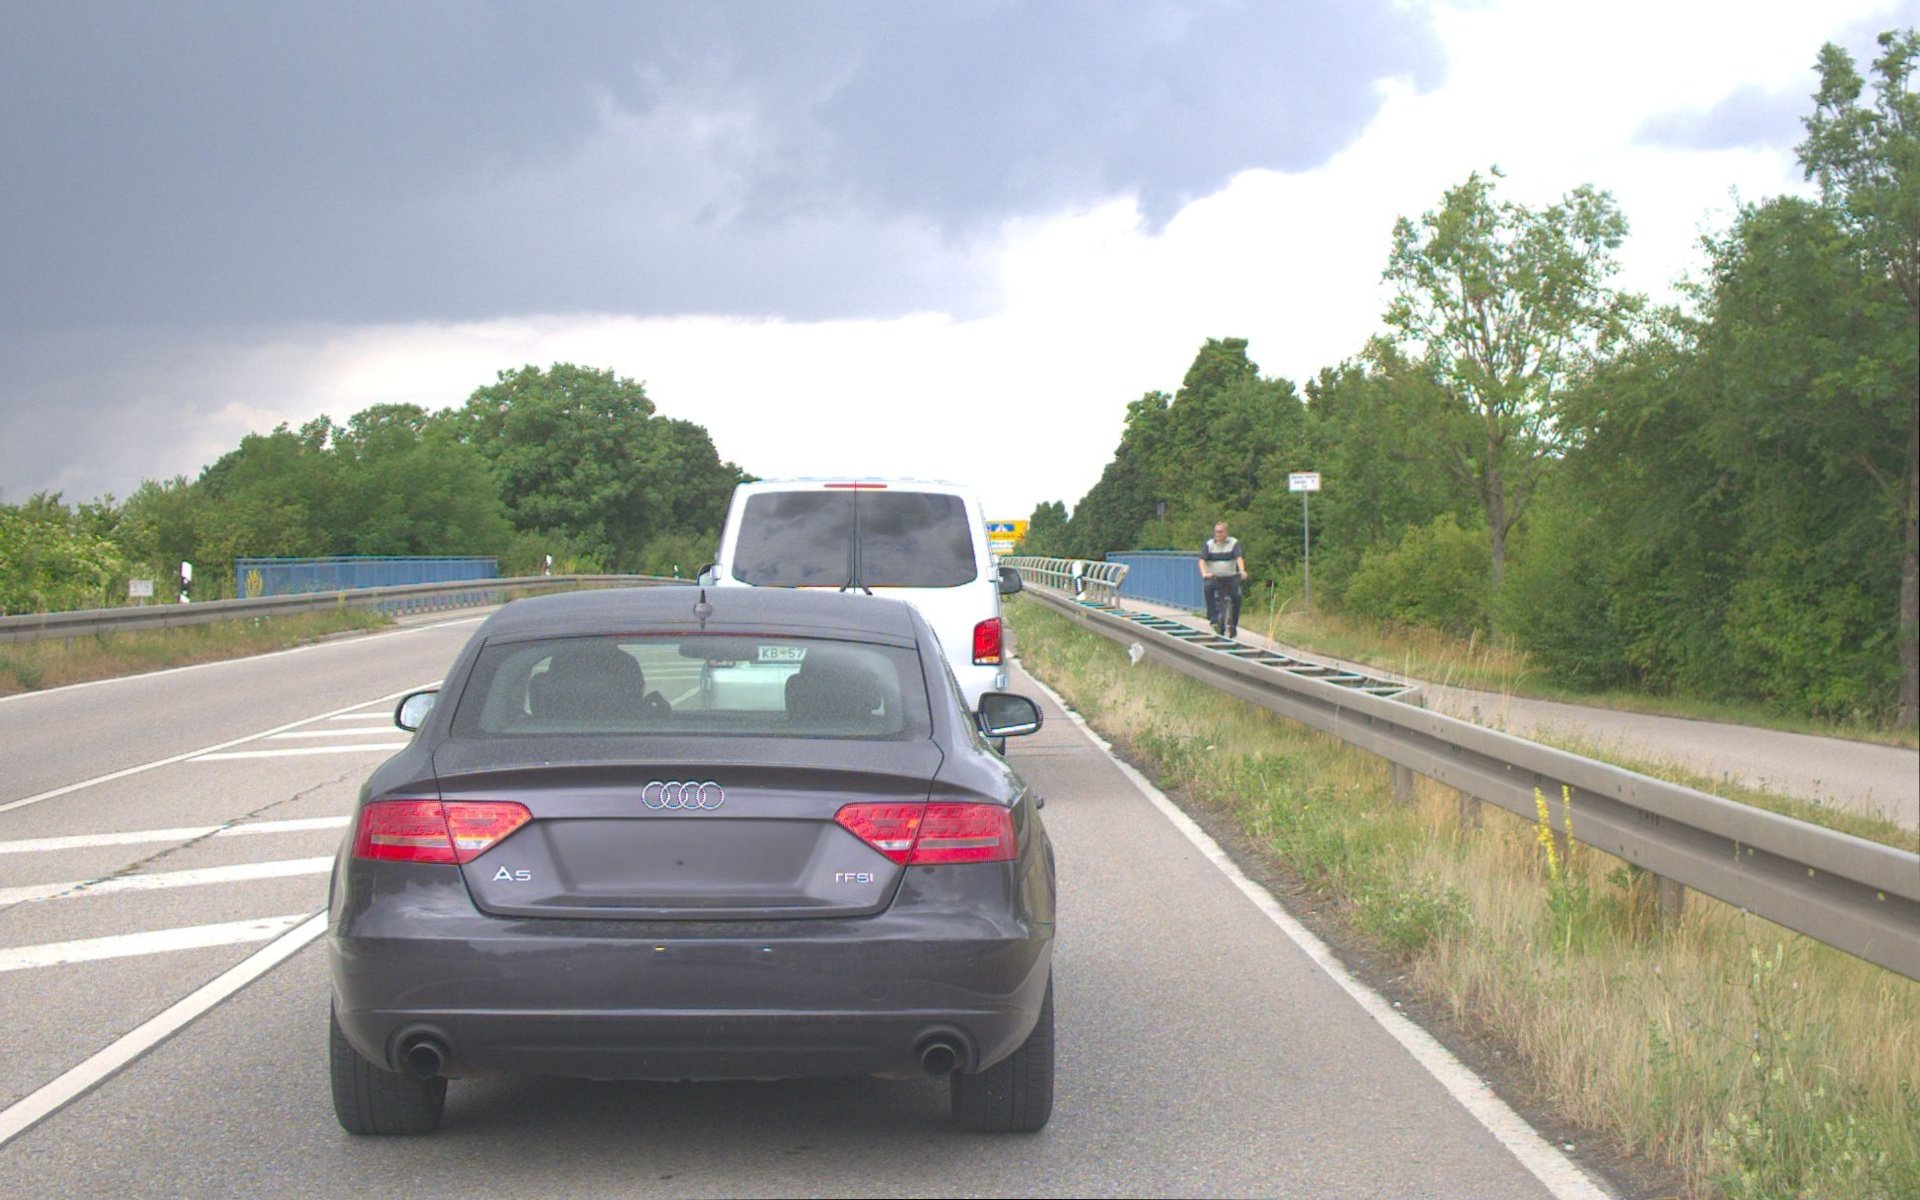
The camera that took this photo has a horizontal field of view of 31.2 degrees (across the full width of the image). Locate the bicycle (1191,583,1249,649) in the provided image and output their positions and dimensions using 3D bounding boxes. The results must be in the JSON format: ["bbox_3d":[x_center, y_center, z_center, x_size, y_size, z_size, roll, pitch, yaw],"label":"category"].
[{"bbox_3d":[3.738,0.218,49.506,0.666,0.917,1.830,-1,1,-1],"label":"bicycle"}]

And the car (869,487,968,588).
[{"bbox_3d":[-1.061,-1.616,88.631,2.447,2.495,5.041,1,1,0],"label":"car"}]

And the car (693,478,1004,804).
[{"bbox_3d":[-0.685,0.228,22.057,1.785,1.883,4.000,1,0,-1],"label":"car"}]

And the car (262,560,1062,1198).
[{"bbox_3d":[-0.706,0.619,9.753,1.785,1.419,4.000,1,0,-1],"label":"car"}]

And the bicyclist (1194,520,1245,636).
[{"bbox_3d":[3.729,-0.320,49.455,0.647,1.639,0.866,-1,0,-1],"label":"bicyclist"}]
